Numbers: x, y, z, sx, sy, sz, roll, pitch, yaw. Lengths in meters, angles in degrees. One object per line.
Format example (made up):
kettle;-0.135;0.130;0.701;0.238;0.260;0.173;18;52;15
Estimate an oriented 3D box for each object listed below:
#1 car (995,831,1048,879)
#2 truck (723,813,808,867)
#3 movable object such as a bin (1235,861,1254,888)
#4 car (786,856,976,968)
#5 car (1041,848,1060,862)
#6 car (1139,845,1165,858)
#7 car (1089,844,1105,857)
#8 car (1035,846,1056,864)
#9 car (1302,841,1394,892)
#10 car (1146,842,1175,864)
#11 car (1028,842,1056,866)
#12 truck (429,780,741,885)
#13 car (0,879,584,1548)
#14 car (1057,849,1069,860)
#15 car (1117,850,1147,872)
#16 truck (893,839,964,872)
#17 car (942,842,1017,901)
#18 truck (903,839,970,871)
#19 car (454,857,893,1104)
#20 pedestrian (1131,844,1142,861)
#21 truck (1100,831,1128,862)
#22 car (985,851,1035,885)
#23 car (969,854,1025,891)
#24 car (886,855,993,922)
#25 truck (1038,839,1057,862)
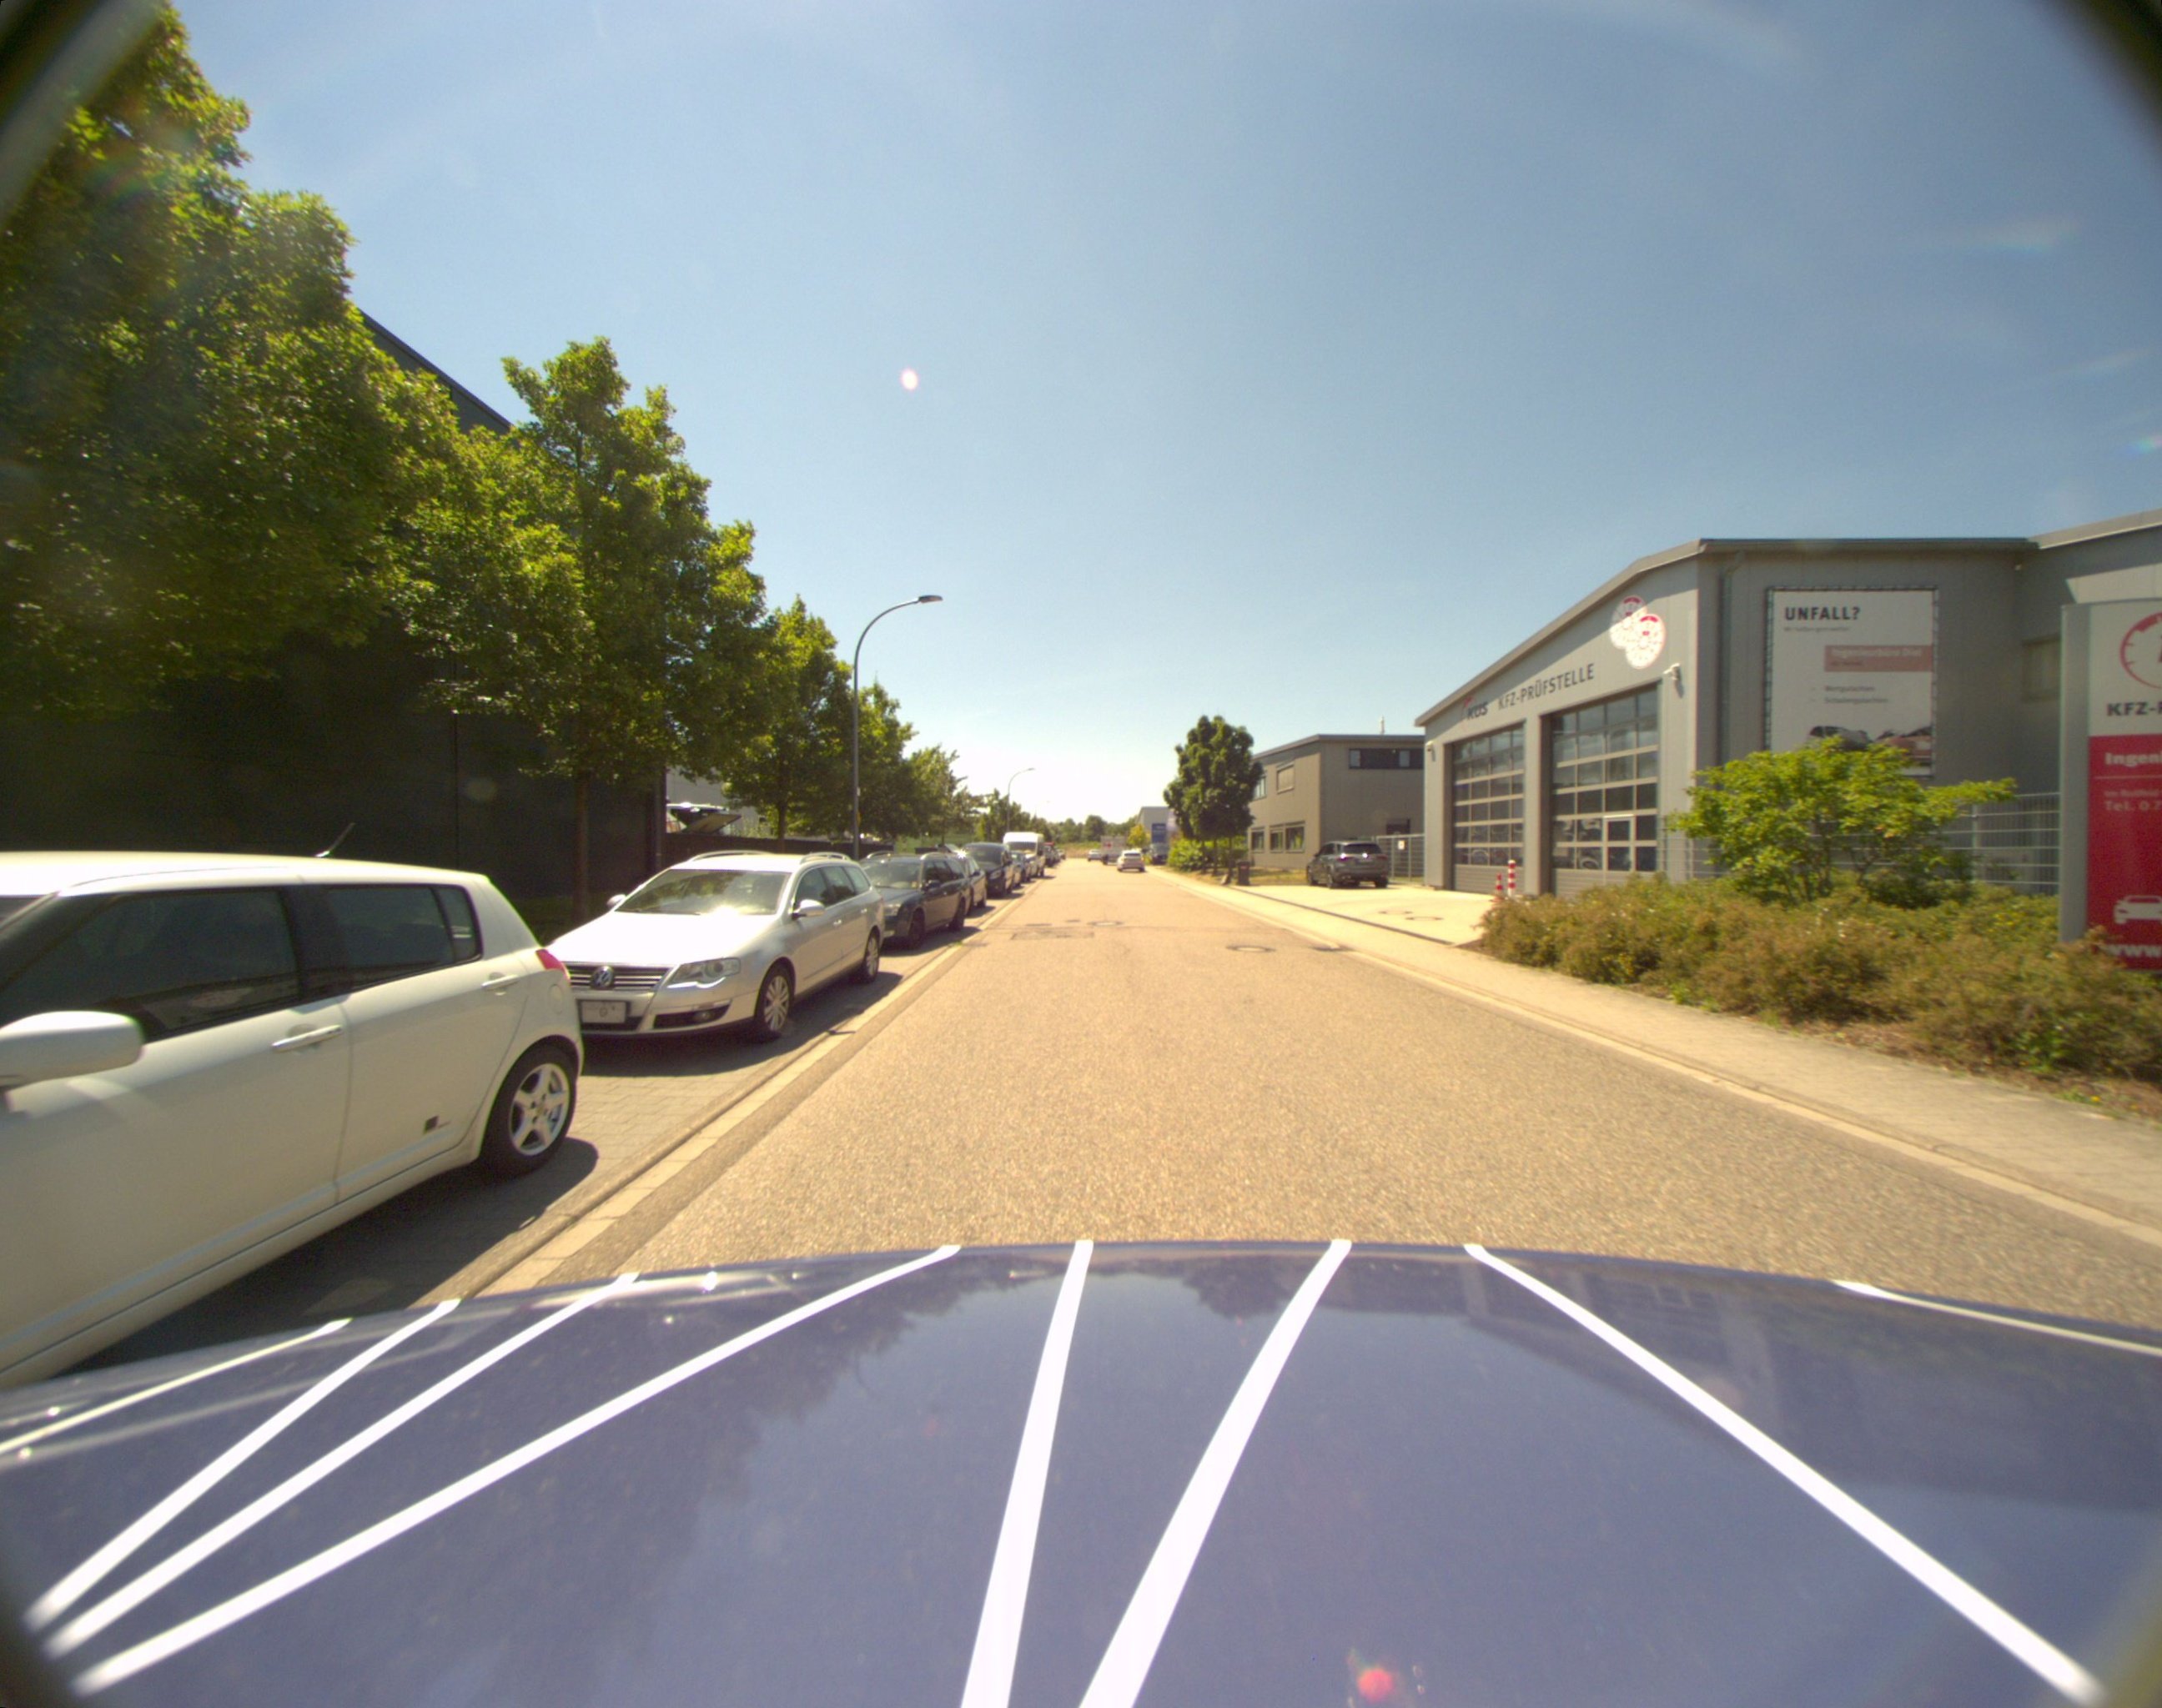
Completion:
car;-3.248;0.021;42.956;2.273;2.483;6.152;1;1;2
truck;-23.249;-1.031;56.167;5.075;3.854;2.803;0;2;0
movable object such as a bin;6.725;0.829;31.274;0.581;1.059;0.765;-2;1;0
car;-3.216;0.836;13.294;1.712;1.496;4.707;1;1;5
car;-3.207;0.127;80.355;1.702;1.375;4.836;2;1;0
car;8.167;-0.304;87.429;2.748;1.509;1.535;0;1;-1
car;1.867;-0.443;90.925;1.787;1.414;4.413;-1;1;1
car;-3.250;0.041;70.274;1.743;1.522;3.999;2;1;-2
car;9.978;0.434;28.834;1.998;1.725;4.914;-1;0;4
car;7.102;-0.129;68.470;1.999;1.945;5.217;-1;1;0
car;-3.229;0.004;63.501;1.998;1.874;5.155;1;1;0
truck;-19.327;-0.769;30.359;10.012;3.800;3.034;1;1;-10
car;-3.350;0.878;2.071;1.640;1.460;3.744;1;0;-3
car;-2.896;0.068;120.686;1.809;1.626;4.457;2;0;0
car;3.530;0.448;52.981;1.734;1.450;4.490;-1;1;0
truck;-13.482;0.124;67.437;5.836;2.896;2.414;0;1;-1
car;-3.360;0.513;25.957;1.999;1.815;4.353;0;1;0
truck;-13.623;0.077;71.785;5.919;2.855;2.305;0;1;-3
car;-3.268;0.853;7.305;1.753;1.553;4.505;1;1;1
pedestrian;5.257;-0.180;72.138;0.901;1.565;0.785;-2;1;1
truck;3.187;-0.735;74.366;2.367;2.843;6.414;2;1;0
car;-3.341;0.617;36.557;1.833;1.485;4.478;1;0;2
car;-3.357;0.717;31.010;1.715;1.280;4.114;0;1;2
car;-3.462;0.775;19.464;1.855;1.423;4.711;0;1;0
truck;-3.271;-0.336;74.736;1.683;2.169;4.389;2;1;0
